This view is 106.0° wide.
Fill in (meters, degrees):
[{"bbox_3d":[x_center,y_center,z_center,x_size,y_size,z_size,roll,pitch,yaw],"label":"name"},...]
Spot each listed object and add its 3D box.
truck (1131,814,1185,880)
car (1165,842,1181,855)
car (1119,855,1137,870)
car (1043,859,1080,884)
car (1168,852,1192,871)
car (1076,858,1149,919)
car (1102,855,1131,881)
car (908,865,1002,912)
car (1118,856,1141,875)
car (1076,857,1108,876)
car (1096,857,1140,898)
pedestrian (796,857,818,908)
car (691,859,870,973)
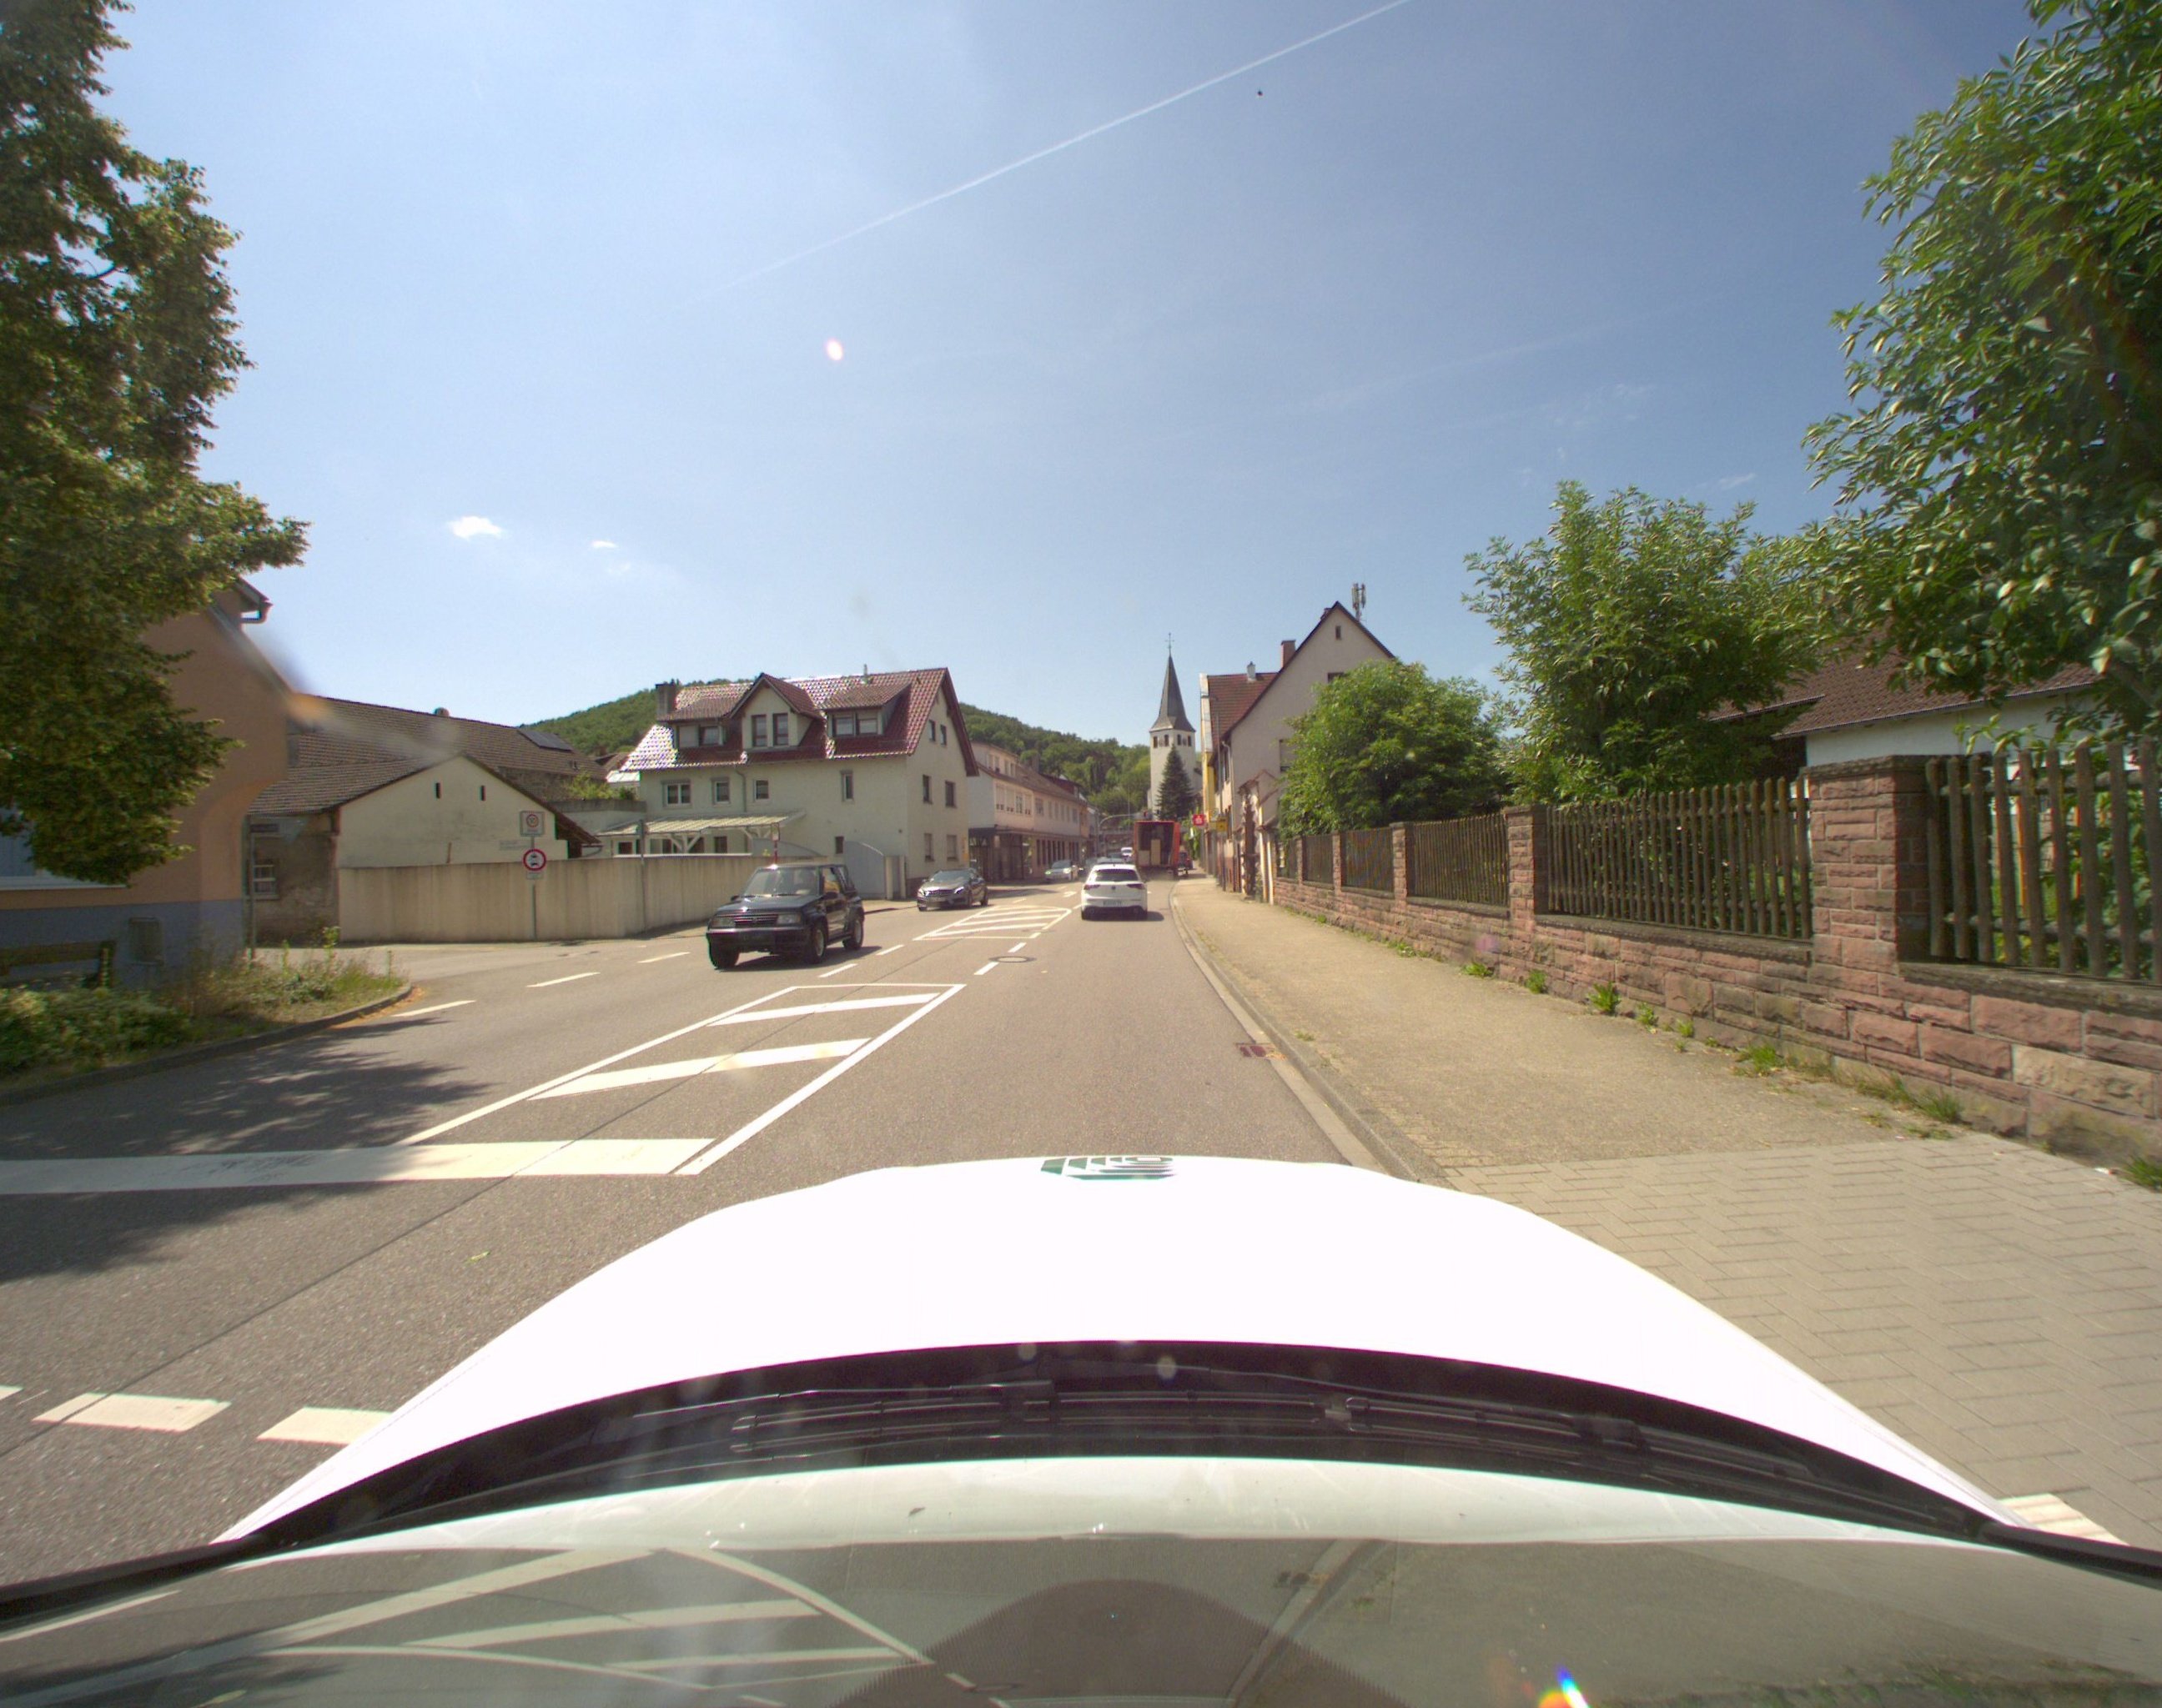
[{"bbox_3d":[5.546,-0.415,58.289,3.350,4.170,9.533,-3,-1,6],"label":"truck"},{"bbox_3d":[12.560,-0.717,111.094,1.807,1.519,4.003,-3,-1,3],"label":"car"},{"bbox_3d":[6.172,1.039,106.434,1.791,1.780,4.717,-3,0,9],"label":"car"},{"bbox_3d":[-1.270,1.175,55.314,1.786,1.508,4.142,-3,-1,7],"label":"car"},{"bbox_3d":[8.884,0.676,73.301,1.807,1.519,4.003,-3,-1,3],"label":"car"},{"bbox_3d":[0.909,0.907,22.581,1.807,1.519,4.003,-1,-1,3],"label":"car"},{"bbox_3d":[2.455,0.941,55.940,1.807,1.629,4.003,-3,-1,3],"label":"car"},{"bbox_3d":[-4.366,1.165,28.952,1.851,1.442,4.230,-3,-1,12],"label":"car"},{"bbox_3d":[4.111,0.980,68.670,1.807,1.519,4.003,-3,-1,3],"label":"car"},{"bbox_3d":[0.971,1.034,68.062,1.782,1.493,4.434,-3,-1,11],"label":"car"},{"bbox_3d":[1.683,1.030,36.635,1.807,1.629,4.003,-3,-1,3],"label":"car"},{"bbox_3d":[-9.722,1.007,28.933,0.430,1.764,0.560,-3,-1,22],"label":"pedestrian"},{"bbox_3d":[-4.999,0.944,14.104,1.734,1.651,3.667,-2,0,-1],"label":"car"}]
